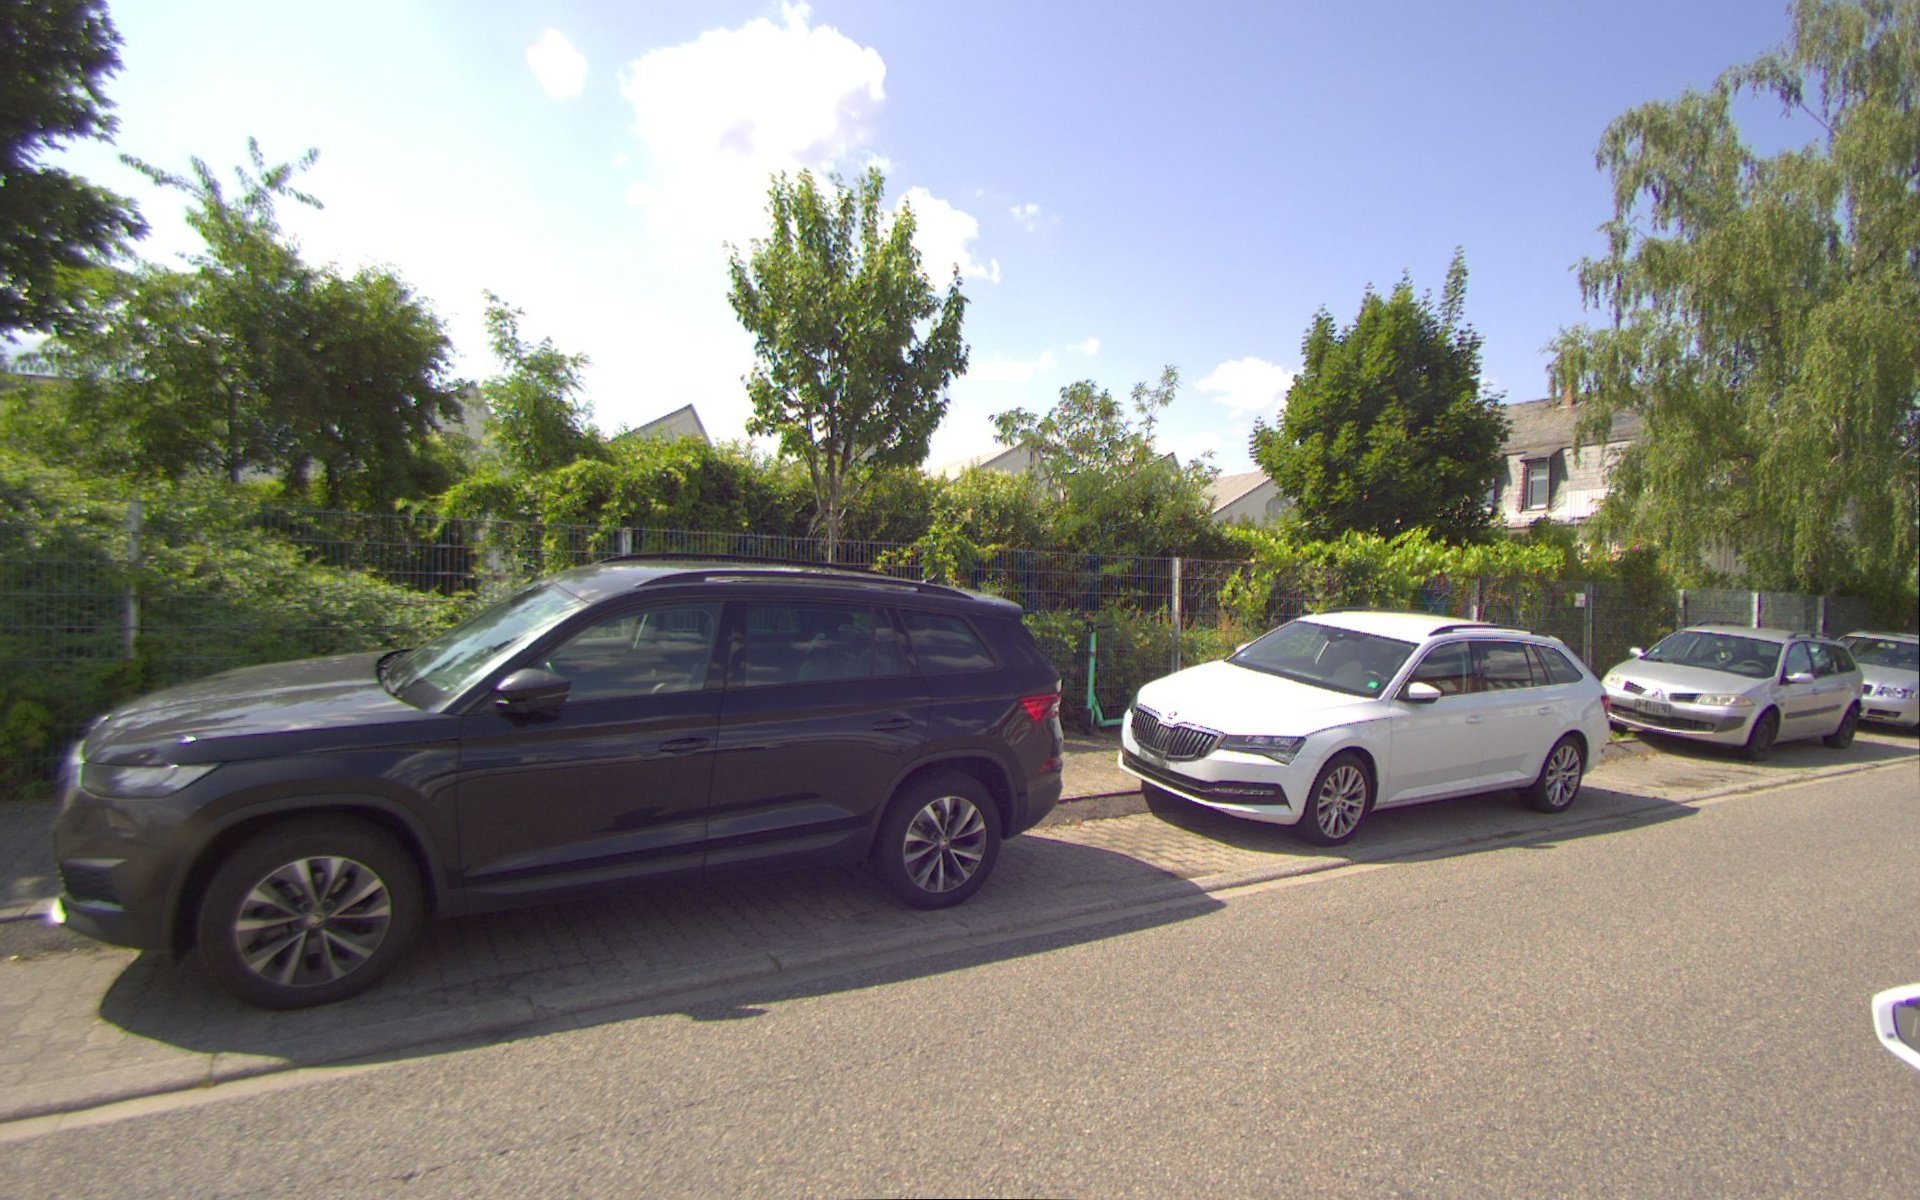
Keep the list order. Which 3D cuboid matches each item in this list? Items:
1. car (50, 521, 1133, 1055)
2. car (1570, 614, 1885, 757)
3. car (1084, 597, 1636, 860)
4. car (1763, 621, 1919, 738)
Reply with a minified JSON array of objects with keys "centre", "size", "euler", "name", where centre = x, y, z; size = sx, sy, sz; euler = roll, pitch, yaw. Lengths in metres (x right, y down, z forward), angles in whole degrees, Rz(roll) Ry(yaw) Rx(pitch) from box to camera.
[{"centre":[-1.422,0.623,5.173],"size":[4.582,1.769,1.602],"euler":[1,2,-31],"name":"car"},{"centre":[10.094,0.989,13.114],"size":[4.608,1.547,1.784],"euler":[1,0,-32],"name":"car"},{"centre":[3.405,0.831,8.194],"size":[4.733,1.616,1.691],"euler":[1,0,-32],"name":"car"},{"centre":[15.067,1.190,16.316],"size":[4.582,1.497,1.713],"euler":[1,4,-33],"name":"car"}]
